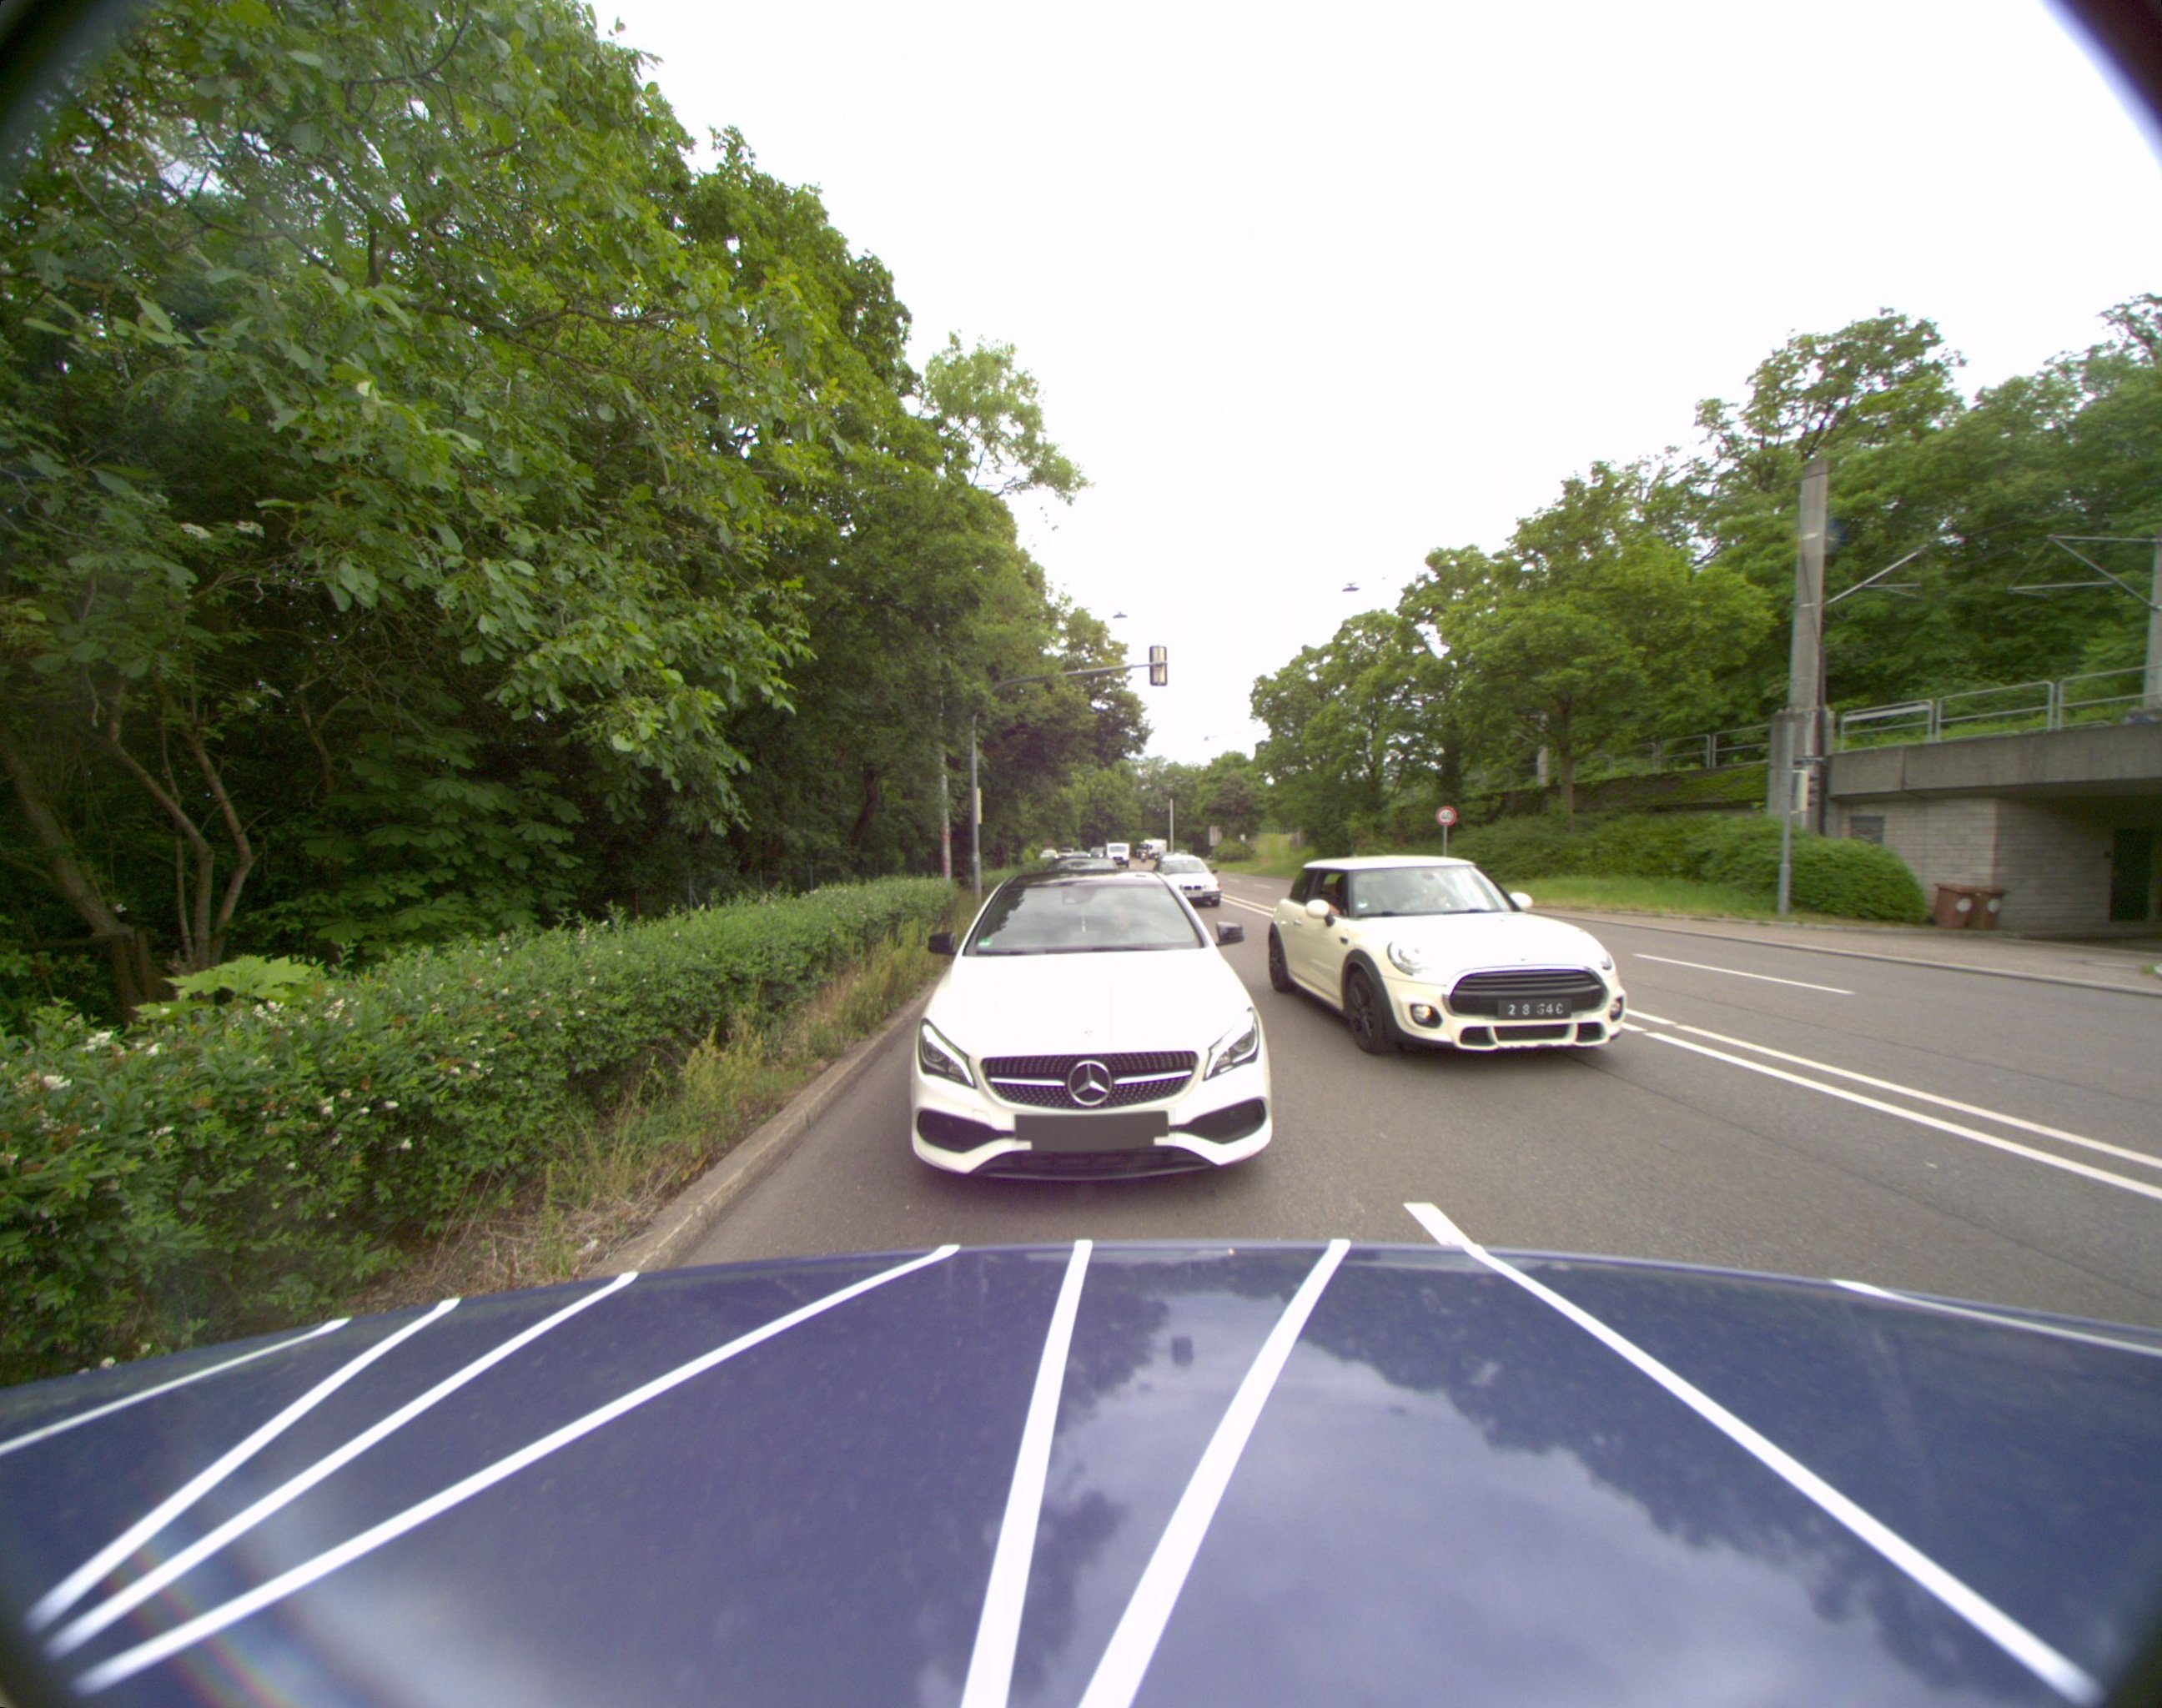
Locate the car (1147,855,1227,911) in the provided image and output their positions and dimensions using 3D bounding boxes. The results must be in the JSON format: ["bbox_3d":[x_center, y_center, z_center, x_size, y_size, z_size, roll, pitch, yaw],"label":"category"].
[{"bbox_3d":[2.971,0.765,22.061,1.664,1.382,4.182,-1,0,-1],"label":"car"}]

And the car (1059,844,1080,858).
[{"bbox_3d":[-1.316,-0.330,90.123,1.754,1.575,4.013,1,0,10],"label":"car"}]

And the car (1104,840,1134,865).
[{"bbox_3d":[3.564,-0.137,70.439,2.284,2.187,6.461,-1,0,7],"label":"car"}]

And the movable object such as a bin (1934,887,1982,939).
[{"bbox_3d":[18.372,1.227,15.926,0.419,1.057,0.503,0,1,-4],"label":"movable object such as a bin"}]

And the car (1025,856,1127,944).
[{"bbox_3d":[-0.091,0.827,15.623,1.755,1.417,4.009,3,1,0],"label":"car"}]

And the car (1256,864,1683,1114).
[{"bbox_3d":[2.804,0.846,6.498,1.688,1.415,3.732,-1,0,-1],"label":"car"}]

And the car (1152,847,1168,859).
[{"bbox_3d":[11.477,-0.102,110.268,1.852,1.641,4.362,1,0,13],"label":"car"}]

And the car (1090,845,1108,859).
[{"bbox_3d":[2.200,-0.275,91.723,1.754,1.575,4.012,1,0,6],"label":"car"}]

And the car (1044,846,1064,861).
[{"bbox_3d":[-2.635,-0.072,74.889,1.765,1.433,3.891,1,0,0],"label":"car"}]

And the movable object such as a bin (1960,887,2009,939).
[{"bbox_3d":[19.036,1.226,16.012,0.419,1.057,0.503,0,1,-4],"label":"movable object such as a bin"}]

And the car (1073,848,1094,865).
[{"bbox_3d":[0.249,0.183,66.502,1.765,1.433,3.891,1,0,0],"label":"car"}]

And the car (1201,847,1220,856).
[{"bbox_3d":[23.153,-0.462,135.522,1.850,1.641,4.366,1,1,31],"label":"car"}]

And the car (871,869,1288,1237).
[{"bbox_3d":[0.020,0.937,5.402,1.801,1.470,4.010,-2,0,1],"label":"car"}]

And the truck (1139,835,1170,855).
[{"bbox_3d":[11.893,-1.447,122.775,2.195,3.137,6.665,2,1,33],"label":"truck"}]

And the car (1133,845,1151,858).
[{"bbox_3d":[8.254,-0.351,101.851,1.852,1.641,4.361,1,0,12],"label":"car"}]
